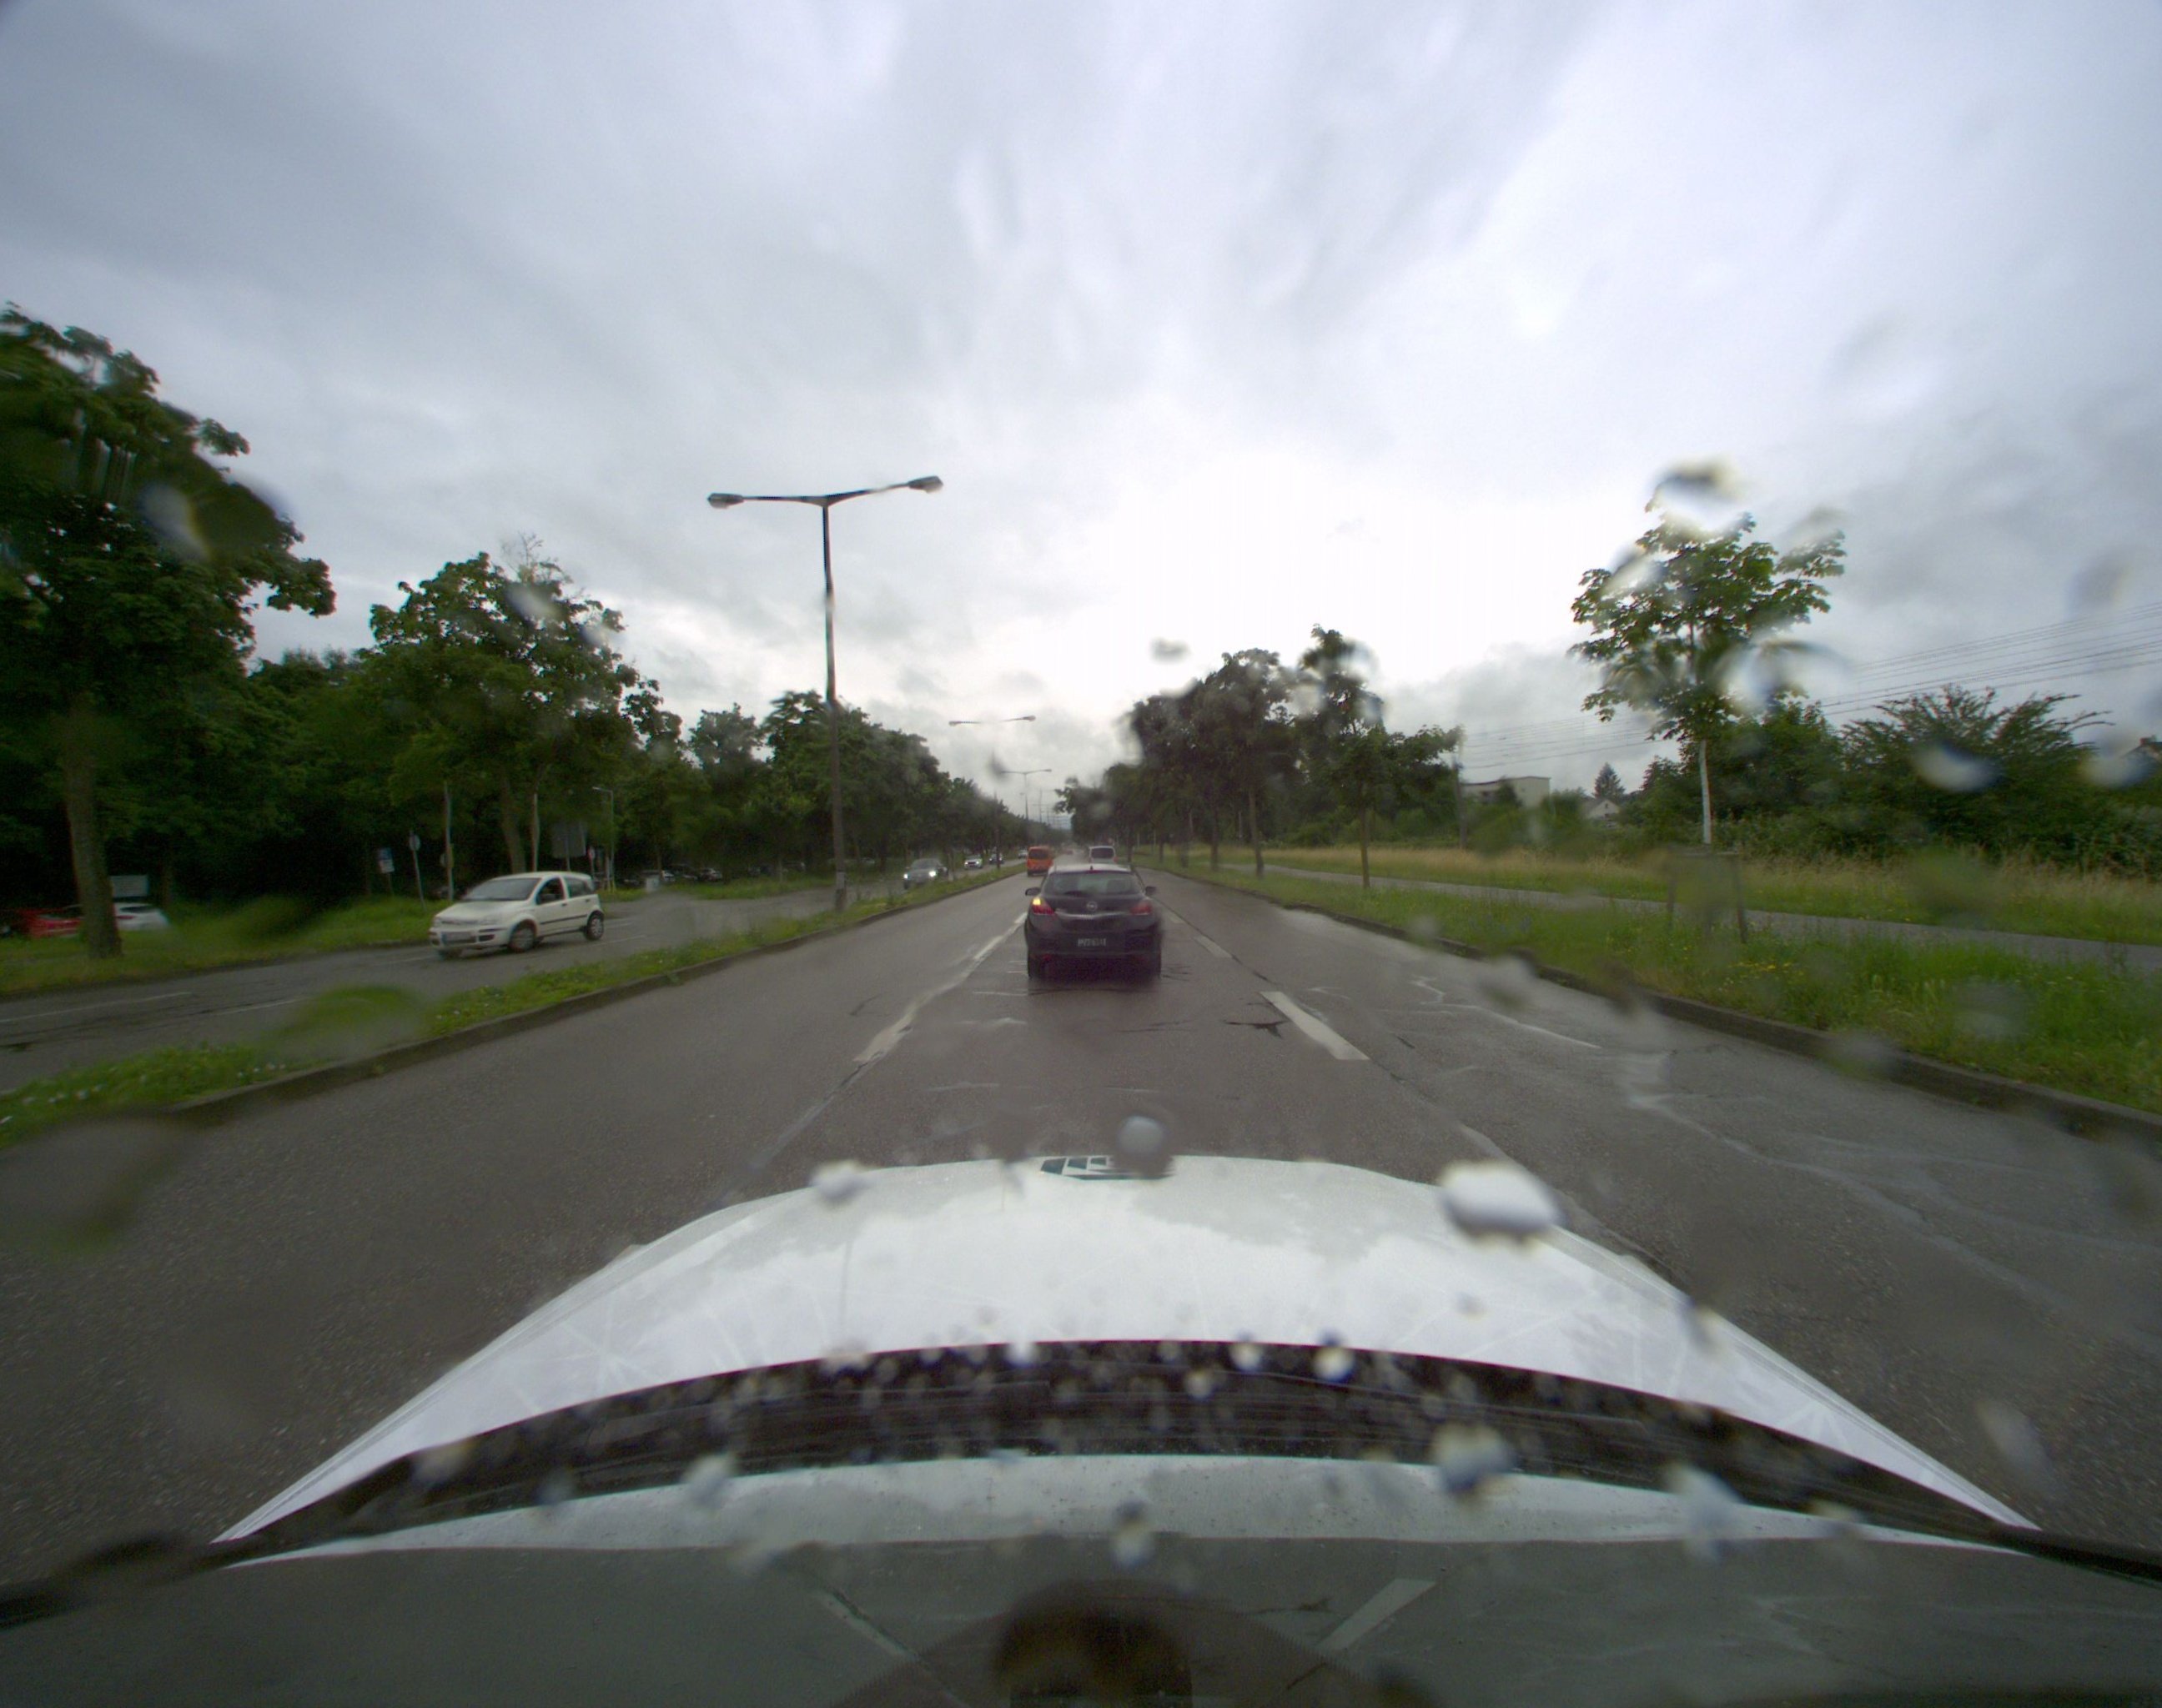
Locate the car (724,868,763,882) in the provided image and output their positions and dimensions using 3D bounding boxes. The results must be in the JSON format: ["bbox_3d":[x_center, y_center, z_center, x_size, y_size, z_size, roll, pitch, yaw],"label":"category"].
[{"bbox_3d":[-38.080,2.371,91.872,3.841,1.452,1.517,-2,0,-14],"label":"car"}]

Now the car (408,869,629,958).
[{"bbox_3d":[-11.570,1.147,17.132,1.676,1.554,4.003,-2,-1,3],"label":"car"}]

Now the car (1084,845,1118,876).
[{"bbox_3d":[1.308,0.429,54.751,2.053,1.974,4.606,-1,-1,-1],"label":"car"}]

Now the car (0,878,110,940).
[{"bbox_3d":[-37.533,1.953,28.693,3.979,2.013,1.997,-2,0,-4],"label":"car"}]

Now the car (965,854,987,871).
[{"bbox_3d":[-10.933,0.851,84.872,1.714,1.529,3.810,-2,1,1],"label":"car"}]

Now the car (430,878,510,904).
[{"bbox_3d":[-38.418,2.331,51.270,3.726,1.426,1.486,-2,0,-4],"label":"car"}]

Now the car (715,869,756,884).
[{"bbox_3d":[-37.972,2.423,89.502,3.837,1.452,1.519,-2,0,-11],"label":"car"}]

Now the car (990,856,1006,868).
[{"bbox_3d":[-11.161,1.098,109.848,1.714,1.529,3.810,-2,0,1],"label":"car"}]

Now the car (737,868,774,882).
[{"bbox_3d":[-37.800,2.388,94.651,3.841,1.452,1.517,-2,0,-14],"label":"car"}]

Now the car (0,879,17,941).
[{"bbox_3d":[-37.612,1.935,26.129,3.979,2.013,1.997,-2,0,-4],"label":"car"}]

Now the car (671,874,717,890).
[{"bbox_3d":[-38.840,2.815,81.799,3.828,1.452,1.523,-2,0,-4],"label":"car"}]

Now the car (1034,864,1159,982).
[{"bbox_3d":[0.309,0.841,11.548,1.457,1.329,3.761,-1,0,4],"label":"car"}]

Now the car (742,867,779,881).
[{"bbox_3d":[-37.969,2.403,96.462,3.841,1.452,1.517,-2,0,-14],"label":"car"}]

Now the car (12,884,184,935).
[{"bbox_3d":[-37.479,2.101,31.134,3.979,1.640,1.909,-2,0,-4],"label":"car"}]

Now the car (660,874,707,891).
[{"bbox_3d":[-38.638,2.766,79.212,3.828,1.452,1.523,-2,0,-4],"label":"car"}]

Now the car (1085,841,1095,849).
[{"bbox_3d":[2.270,-2.237,208.505,2.507,2.052,5.294,0,0,1],"label":"car"}]

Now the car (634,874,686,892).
[{"bbox_3d":[-38.434,2.666,74.412,3.828,1.452,1.523,-2,0,-4],"label":"car"}]

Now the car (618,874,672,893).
[{"bbox_3d":[-38.415,2.608,71.805,3.828,1.452,1.523,-2,0,-4],"label":"car"}]

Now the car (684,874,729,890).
[{"bbox_3d":[-38.713,2.857,84.209,3.828,1.452,1.523,-2,0,-4],"label":"car"}]

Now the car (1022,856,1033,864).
[{"bbox_3d":[-10.301,1.158,157.106,1.714,1.529,3.810,-2,0,1],"label":"car"}]

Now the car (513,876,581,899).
[{"bbox_3d":[-38.594,2.391,58.909,3.828,1.452,1.523,-2,0,-4],"label":"car"}]

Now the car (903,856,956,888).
[{"bbox_3d":[-7.508,0.862,40.662,1.820,1.450,3.810,-2,0,1],"label":"car"}]
